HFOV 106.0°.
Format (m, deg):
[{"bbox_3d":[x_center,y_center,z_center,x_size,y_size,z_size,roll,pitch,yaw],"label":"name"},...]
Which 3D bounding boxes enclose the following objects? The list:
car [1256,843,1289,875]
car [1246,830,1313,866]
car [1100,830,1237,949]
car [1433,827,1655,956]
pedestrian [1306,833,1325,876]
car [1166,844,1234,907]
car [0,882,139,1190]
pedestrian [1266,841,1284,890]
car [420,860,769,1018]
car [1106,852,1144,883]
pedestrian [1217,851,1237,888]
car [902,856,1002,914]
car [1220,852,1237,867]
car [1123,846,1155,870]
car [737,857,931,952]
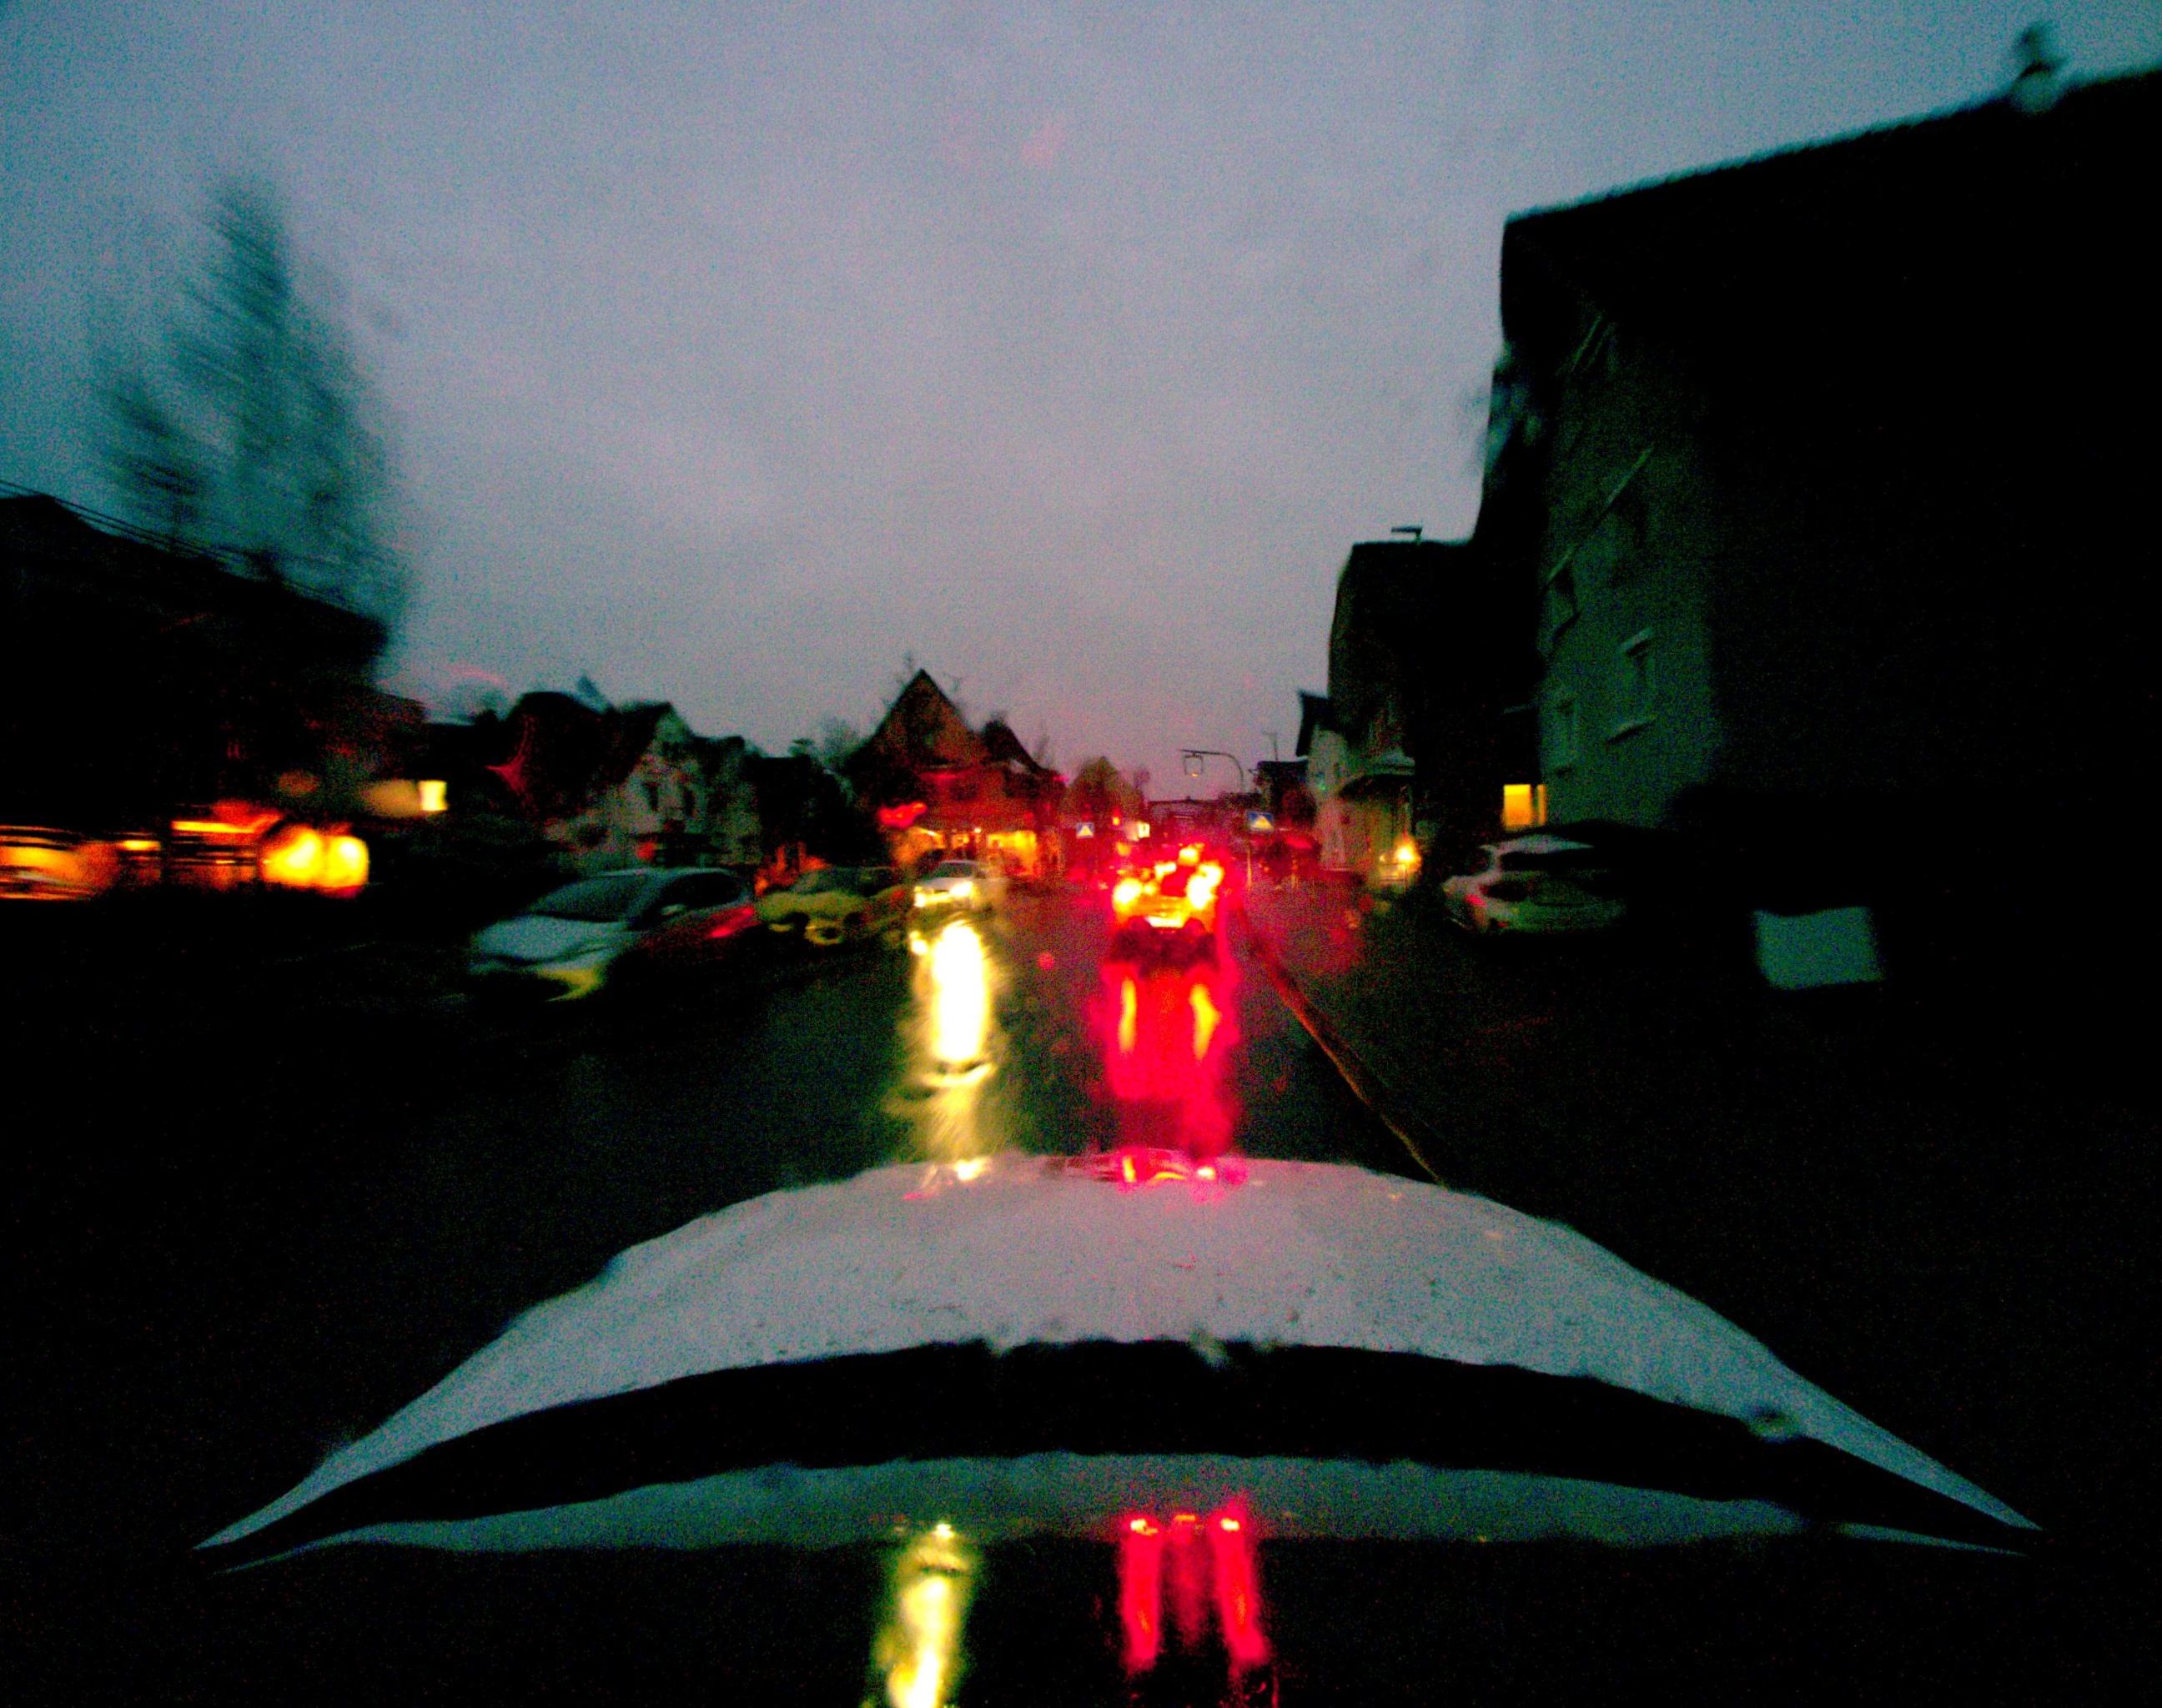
[{"bbox_3d":[12.980,0.326,55.262,1.633,2.013,4.007,-3,0,6],"label":"car"},{"bbox_3d":[11.290,-0.325,46.449,3.672,2.014,1.695,0,-1,12],"label":"car"},{"bbox_3d":[1.769,0.530,14.817,1.980,1.795,4.663,-2,0,12],"label":"car"},{"bbox_3d":[6.422,0.432,11.884,1.868,1.466,4.564,-3,0,18],"label":"car"},{"bbox_3d":[10.368,0.001,35.994,0.700,1.876,0.617,0,0,1],"label":"pedestrian"},{"bbox_3d":[3.508,0.599,23.582,1.786,1.662,4.011,-1,-1,10],"label":"car"},{"bbox_3d":[-6.303,0.891,2.341,1.737,1.472,4.467,0,0,7],"label":"car"},{"bbox_3d":[7.613,0.443,31.927,0.658,1.888,0.827,-1,-1,15],"label":"pedestrian"},{"bbox_3d":[-5.489,0.839,9.840,1.684,1.516,3.779,0,0,6],"label":"car"},{"bbox_3d":[3.013,0.867,55.375,1.981,2.014,4.374,-1,0,11],"label":"car"},{"bbox_3d":[7.113,0.750,39.639,0.967,1.742,0.964,0,1,9],"label":"pedestrian"},{"bbox_3d":[-3.595,0.810,23.372,1.660,1.516,4.010,0,0,9],"label":"car"},{"bbox_3d":[15.069,0.559,83.191,1.525,1.245,3.656,-6,0,9],"label":"car"},{"bbox_3d":[4.495,0.295,62.669,1.981,1.752,4.373,-1,0,9],"label":"car"},{"bbox_3d":[-4.450,0.820,15.447,1.738,1.516,4.353,0,0,10],"label":"car"}]
